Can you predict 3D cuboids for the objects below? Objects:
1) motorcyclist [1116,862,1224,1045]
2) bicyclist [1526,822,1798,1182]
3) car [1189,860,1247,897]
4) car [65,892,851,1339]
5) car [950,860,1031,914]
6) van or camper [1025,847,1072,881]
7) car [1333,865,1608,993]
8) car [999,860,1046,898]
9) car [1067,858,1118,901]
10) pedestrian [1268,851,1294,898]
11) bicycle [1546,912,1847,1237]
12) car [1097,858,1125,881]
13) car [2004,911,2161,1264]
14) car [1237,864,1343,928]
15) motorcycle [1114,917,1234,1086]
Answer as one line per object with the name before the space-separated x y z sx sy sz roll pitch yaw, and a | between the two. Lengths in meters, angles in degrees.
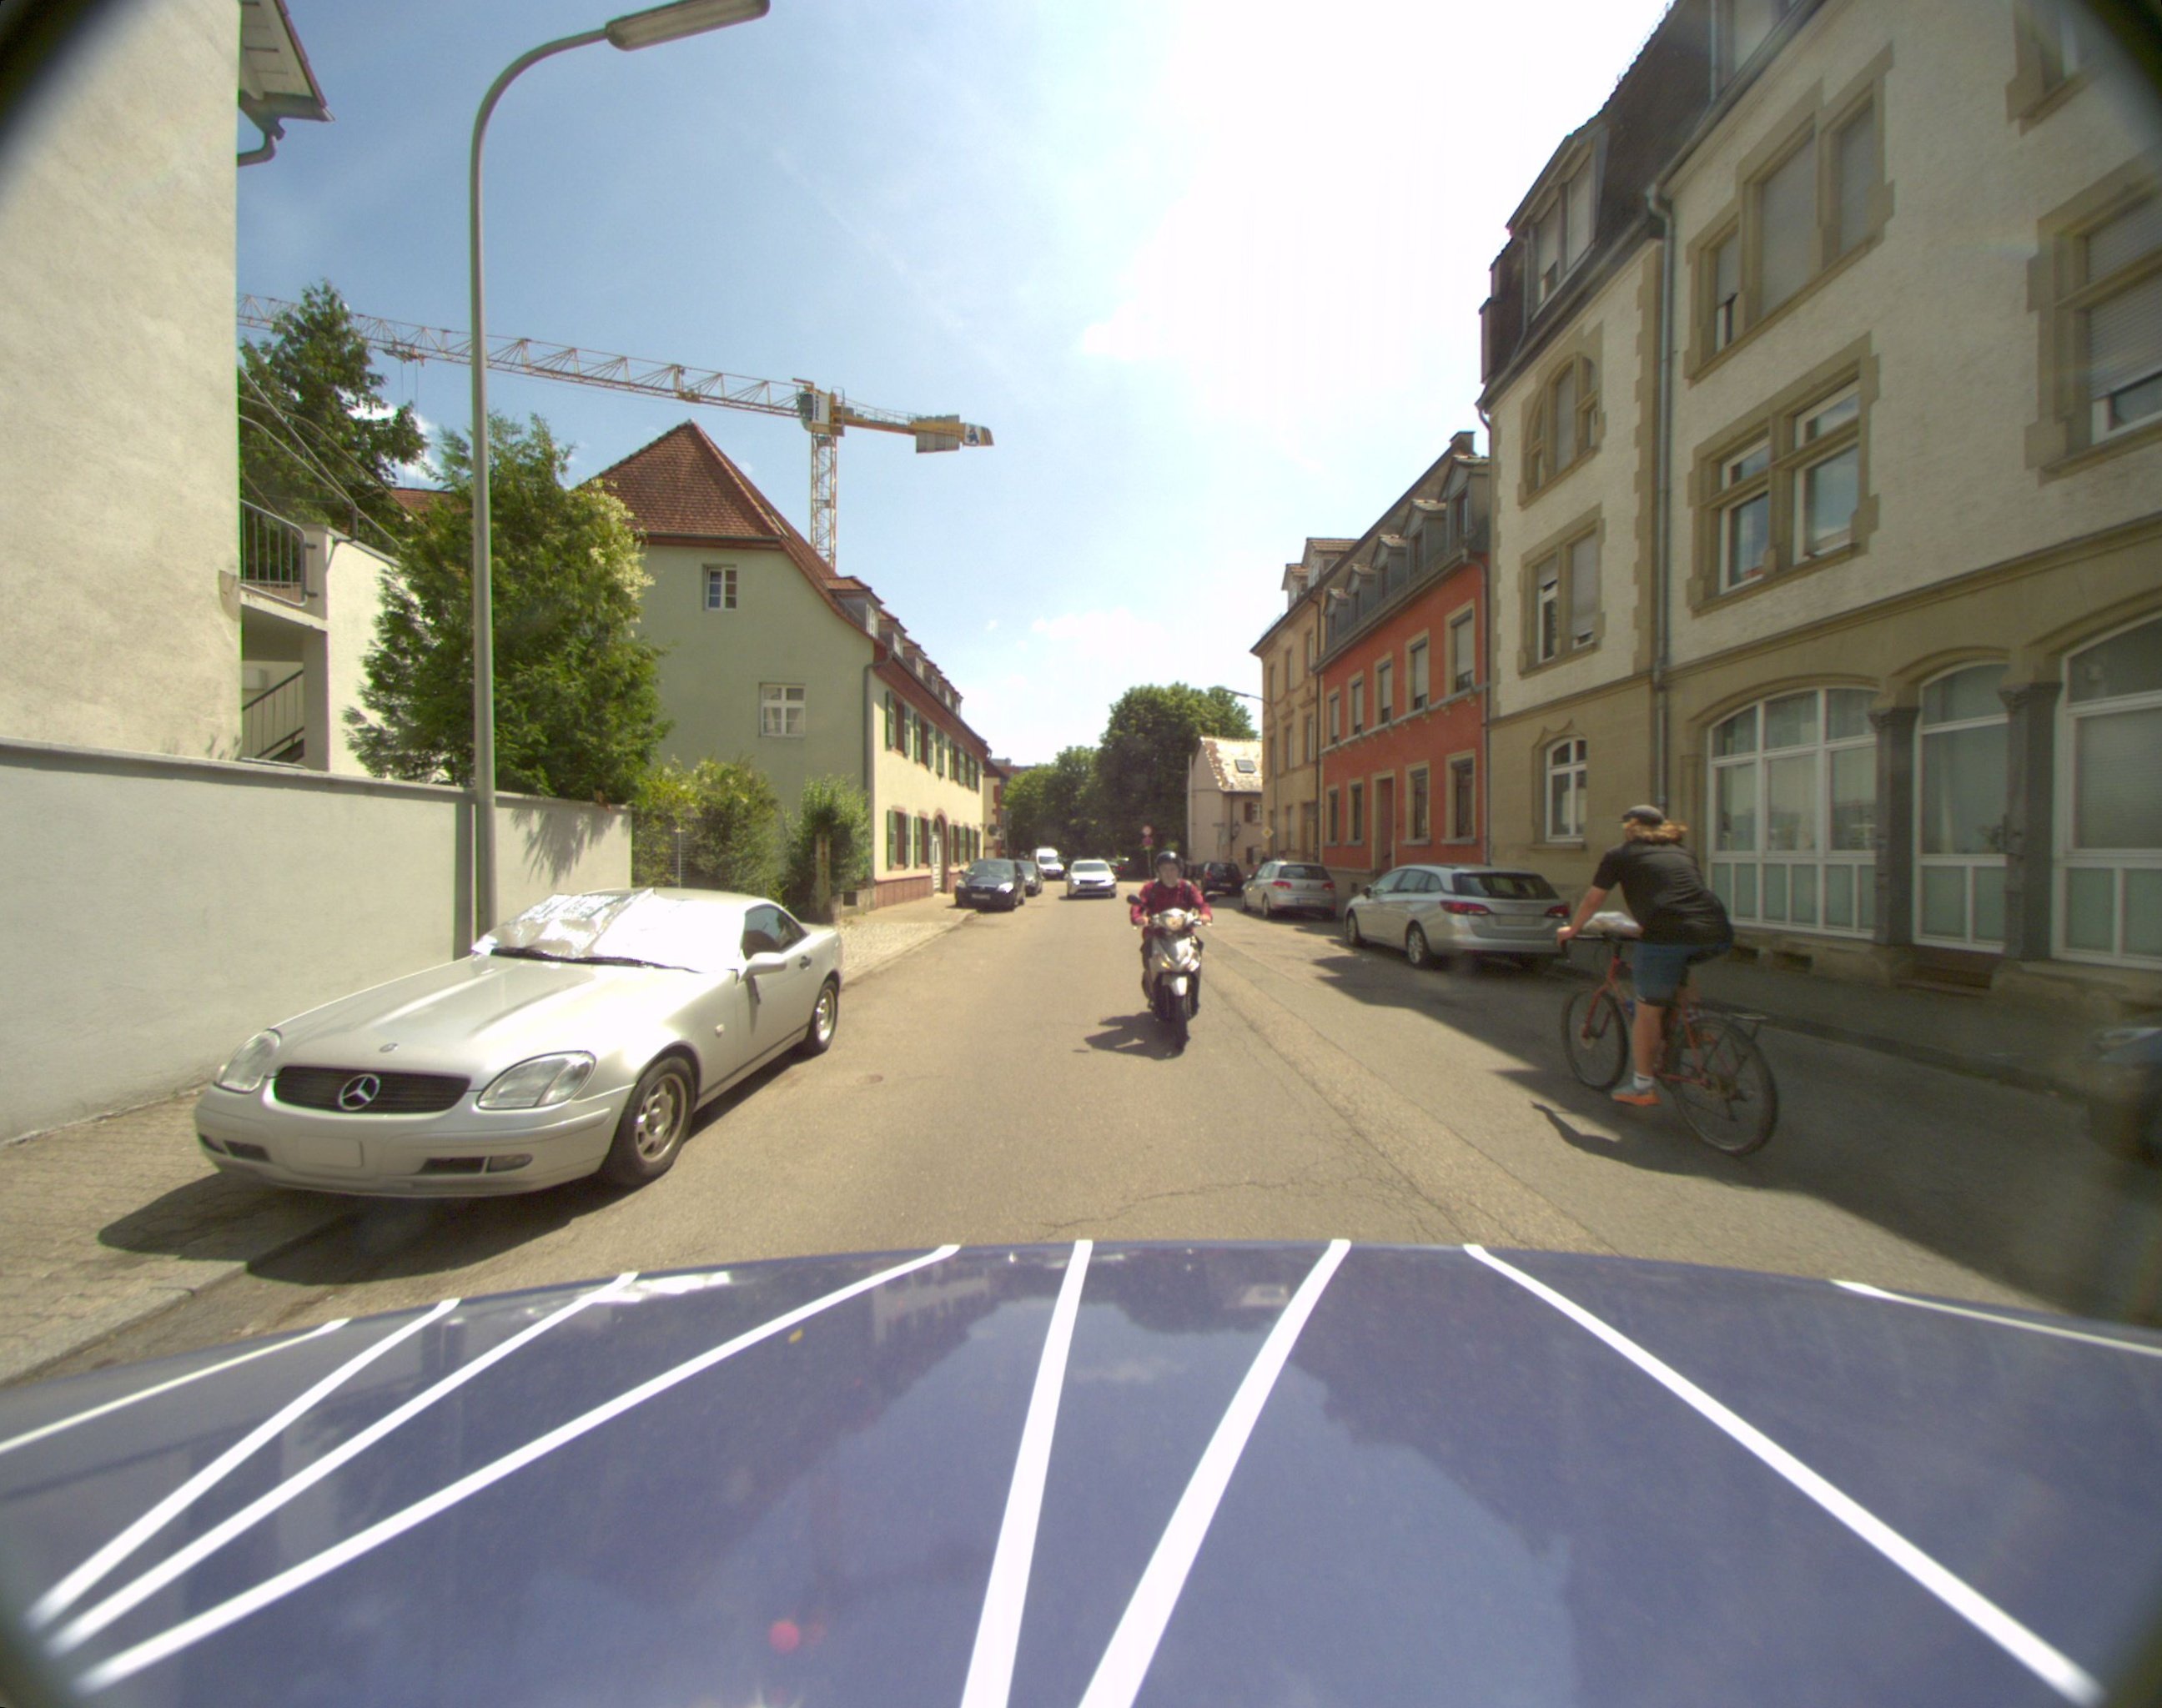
motorcyclist | 0.733 0.799 6.559 0.793 1.431 1.020 -1 0 0
bicyclist | 3.199 0.724 4.327 0.642 1.752 1.167 2 1 5
car | 5.824 1.012 32.626 1.732 1.433 3.857 0 0 -1
car | -2.821 1.035 4.635 1.589 1.345 3.822 2 0 1
car | -2.683 0.941 23.484 1.851 1.506 4.001 0 0 3
van or camper | -2.390 0.645 53.746 2.002 2.274 5.136 0 0 -18
car | 5.466 0.944 11.438 1.883 1.501 4.381 0 0 0
car | -2.452 1.022 32.801 1.651 1.489 4.000 0 0 1
car | 0.377 0.926 29.399 1.812 1.512 3.999 -1 0 -1
pedestrian | 7.724 0.792 29.391 0.770 1.761 0.763 -2 1 -1
bicycle | 3.266 1.038 4.264 0.228 1.268 1.883 3 1 5
car | 2.018 1.009 51.205 1.791 1.516 4.063 0 0 2
car | 5.482 0.996 1.609 1.877 1.430 4.218 0 0 -1
car | 5.445 1.036 20.295 1.715 1.451 3.853 1 0 -1
motorcycle | 0.720 1.151 6.510 0.760 1.049 1.991 -1 0 0
